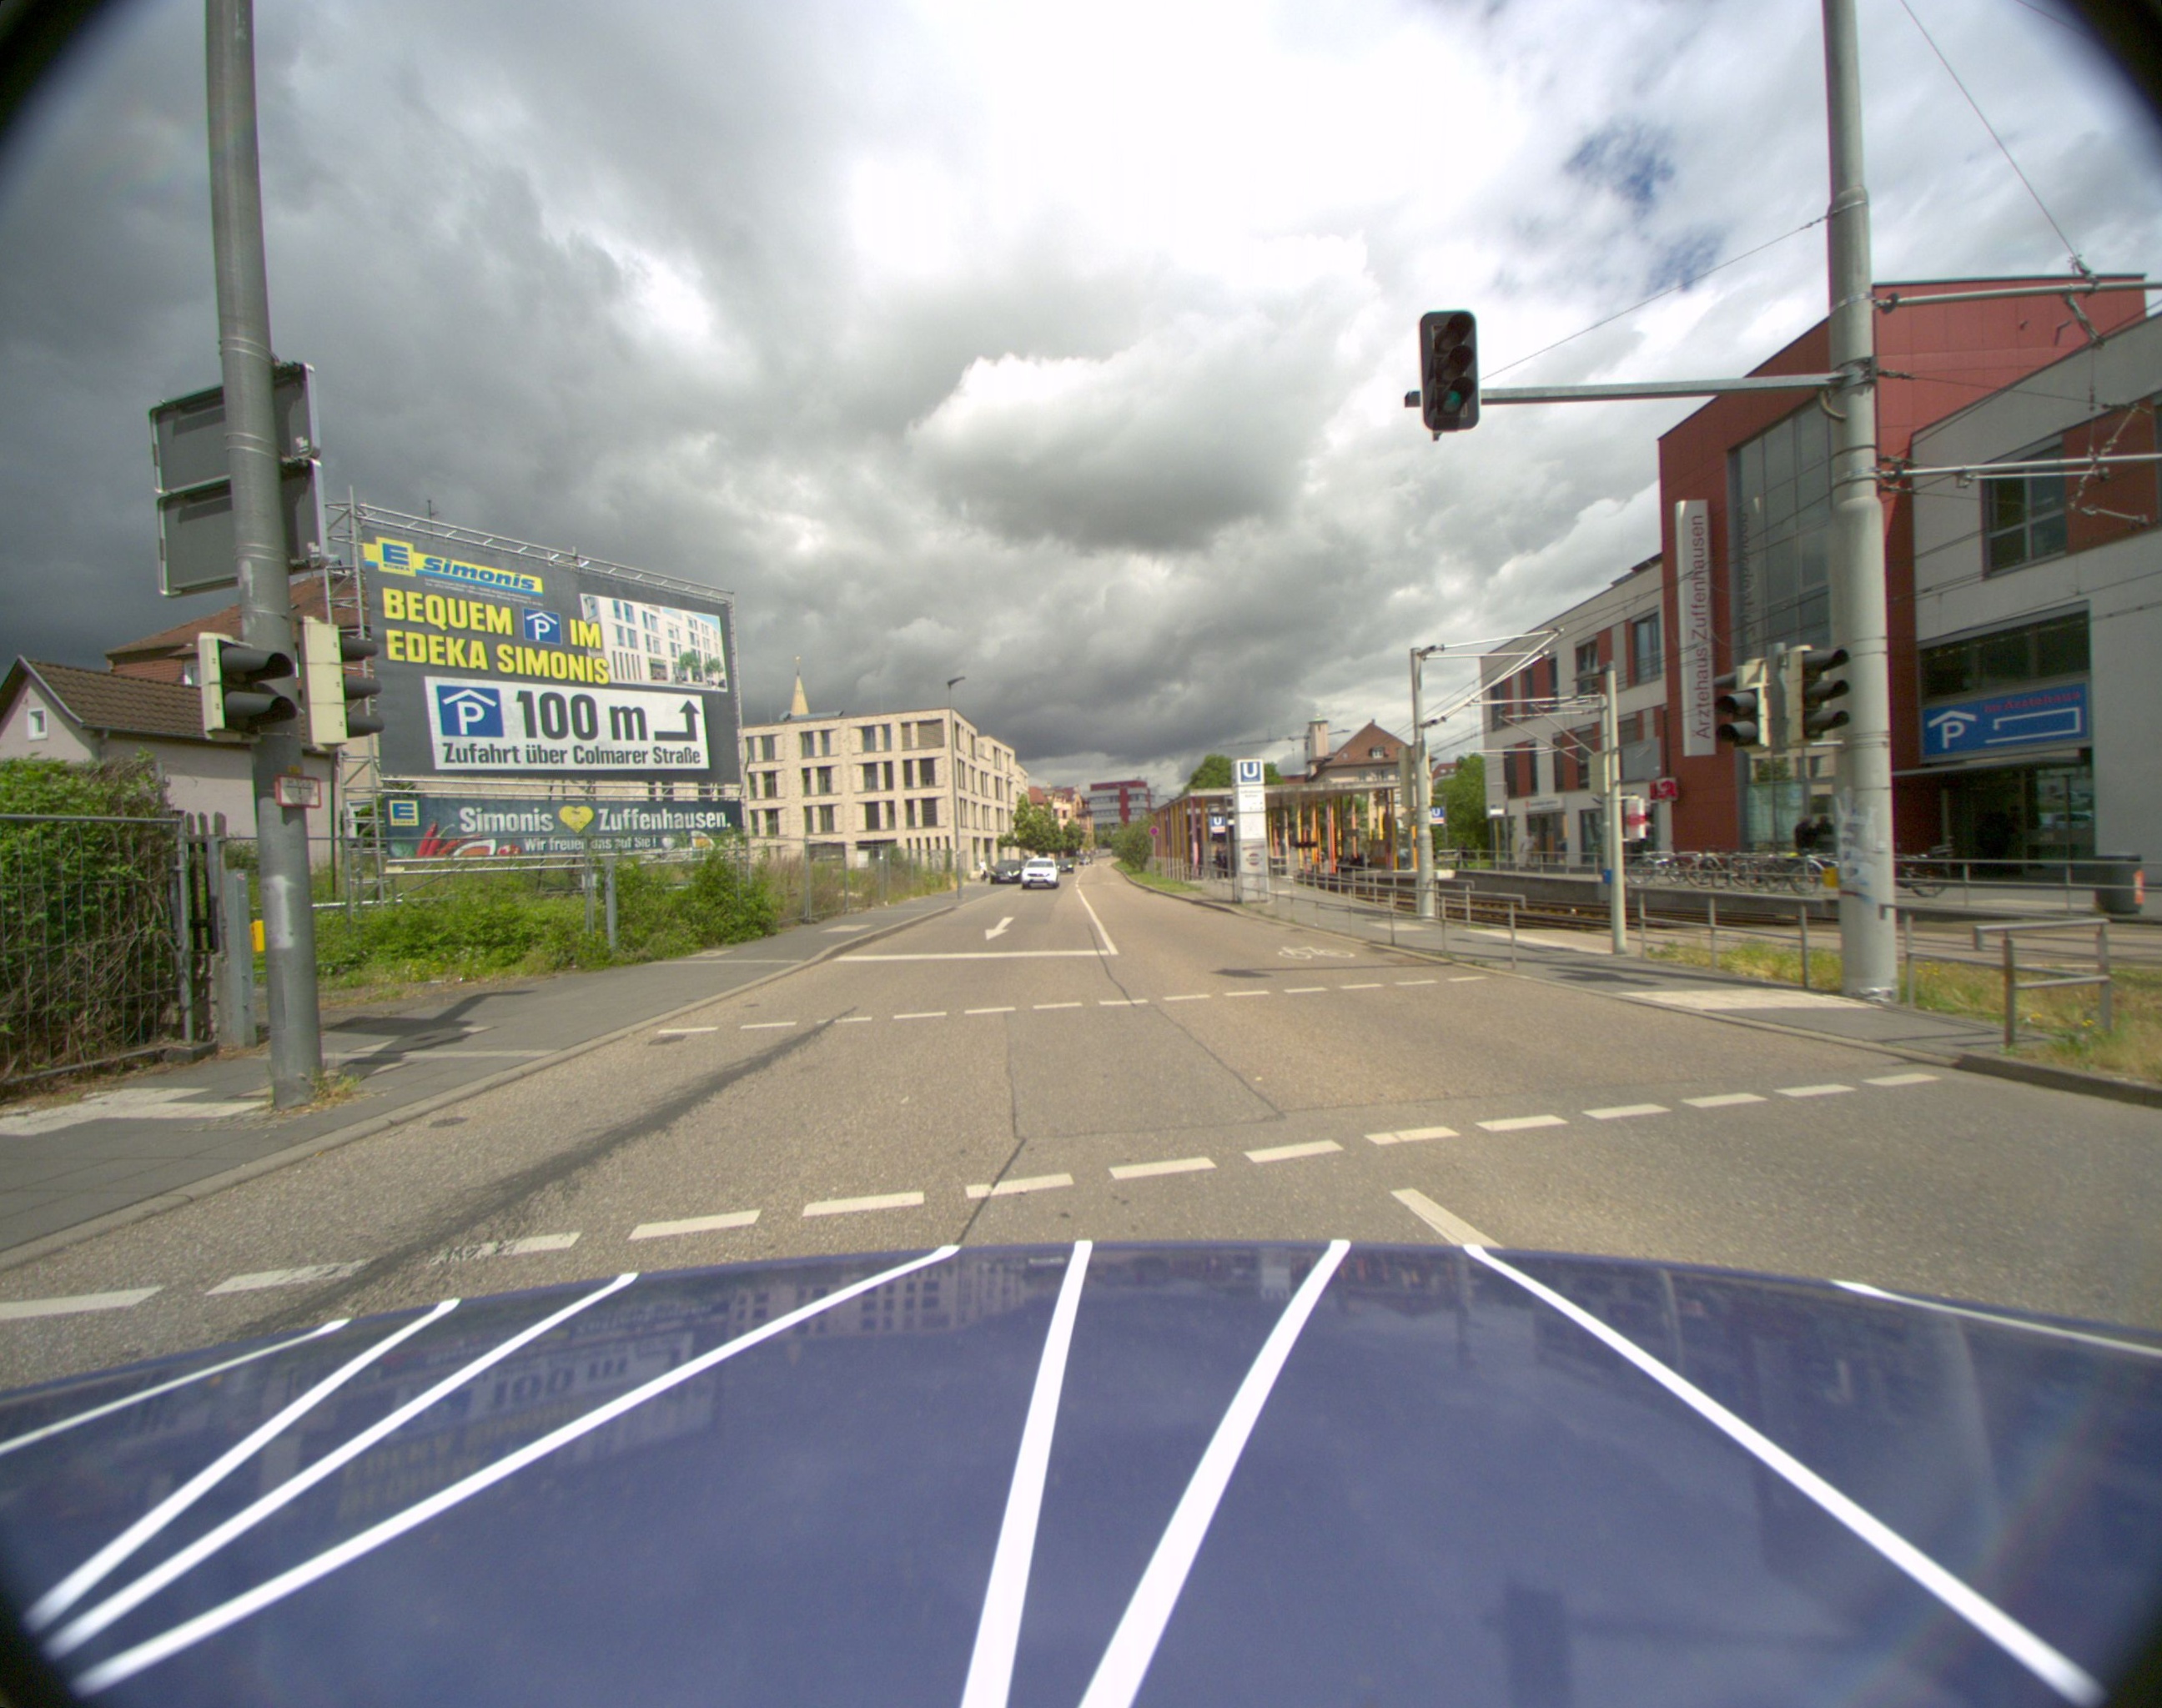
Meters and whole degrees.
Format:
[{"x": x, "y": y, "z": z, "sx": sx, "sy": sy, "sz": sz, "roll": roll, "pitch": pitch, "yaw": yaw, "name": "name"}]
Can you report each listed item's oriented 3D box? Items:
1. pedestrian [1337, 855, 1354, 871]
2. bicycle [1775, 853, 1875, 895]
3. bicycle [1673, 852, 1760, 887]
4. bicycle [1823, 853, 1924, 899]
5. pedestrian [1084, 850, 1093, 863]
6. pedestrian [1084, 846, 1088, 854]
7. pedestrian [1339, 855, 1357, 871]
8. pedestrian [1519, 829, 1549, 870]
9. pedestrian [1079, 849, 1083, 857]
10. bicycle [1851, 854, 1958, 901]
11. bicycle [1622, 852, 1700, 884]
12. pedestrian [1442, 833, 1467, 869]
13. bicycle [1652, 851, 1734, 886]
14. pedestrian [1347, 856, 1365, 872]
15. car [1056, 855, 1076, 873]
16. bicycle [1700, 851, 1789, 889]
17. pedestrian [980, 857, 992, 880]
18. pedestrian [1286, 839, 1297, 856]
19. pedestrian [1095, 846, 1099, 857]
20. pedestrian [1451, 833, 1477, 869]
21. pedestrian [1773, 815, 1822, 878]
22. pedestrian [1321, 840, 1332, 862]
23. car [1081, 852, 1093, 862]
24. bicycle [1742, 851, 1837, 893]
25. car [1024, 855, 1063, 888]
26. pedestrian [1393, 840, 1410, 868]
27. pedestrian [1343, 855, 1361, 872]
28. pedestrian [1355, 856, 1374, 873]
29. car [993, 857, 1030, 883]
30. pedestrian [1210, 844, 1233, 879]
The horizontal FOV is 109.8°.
[{"x": 19.259, "y": 0.627, "z": 55.364, "sx": 0.943, "sy": 1.128, "sz": 0.886, "roll": -2, "pitch": 0, "yaw": 2, "name": "pedestrian"}, {"x": 17.642, "y": 0.472, "z": 18.038, "sx": 1.862, "sy": 0.930, "sz": 0.454, "roll": -2, "pitch": 1, "yaw": 3, "name": "bicycle"}, {"x": 17.563, "y": 0.425, "z": 21.022, "sx": 1.861, "sy": 0.917, "sz": 0.455, "roll": -2, "pitch": 1, "yaw": 8, "name": "bicycle"}, {"x": 17.709, "y": 0.491, "z": 16.999, "sx": 1.739, "sy": 0.952, "sz": 0.428, "roll": -2, "pitch": 1, "yaw": 3, "name": "bicycle"}, {"x": 1.008, "y": 0.326, "z": 104.976, "sx": 1.118, "sy": 1.744, "sz": 0.866, "roll": -2, "pitch": 0, "yaw": -2, "name": "pedestrian"}, {"x": 0.863, "y": -0.678, "z": 141.041, "sx": 0.673, "sy": 1.503, "sz": 0.783, "roll": -2, "pitch": 0, "yaw": 3, "name": "pedestrian"}, {"x": 19.179, "y": 0.651, "z": 54.587, "sx": 0.943, "sy": 1.128, "sz": 0.886, "roll": -2, "pitch": 0, "yaw": 2, "name": "pedestrian"}, {"x": 22.073, "y": -0.242, "z": 37.036, "sx": 0.864, "sy": 1.957, "sz": 1.106, "roll": -1, "pitch": 2, "yaw": 3, "name": "pedestrian"}, {"x": 0.069, "y": -0.115, "z": 141.252, "sx": 0.673, "sy": 1.503, "sz": 0.783, "roll": -2, "pitch": 0, "yaw": 3, "name": "pedestrian"}, {"x": 17.721, "y": 0.505, "z": 16.366, "sx": 1.739, "sy": 0.947, "sz": 0.428, "roll": -2, "pitch": 1, "yaw": 3, "name": "bicycle"}, {"x": 17.529, "y": 0.424, "z": 22.979, "sx": 1.861, "sy": 0.876, "sz": 0.455, "roll": -2, "pitch": 1, "yaw": 9, "name": "bicycle"}, {"x": 20.827, "y": -0.188, "z": 42.368, "sx": 0.864, "sy": 1.957, "sz": 1.105, "roll": -1, "pitch": 2, "yaw": -1, "name": "pedestrian"}, {"x": 17.588, "y": 0.410, "z": 21.851, "sx": 1.861, "sy": 0.927, "sz": 0.455, "roll": -2, "pitch": 1, "yaw": 9, "name": "bicycle"}, {"x": 19.067, "y": 0.689, "z": 52.639, "sx": 0.943, "sy": 1.128, "sz": 0.886, "roll": -2, "pitch": 0, "yaw": 2, "name": "pedestrian"}, {"x": -1.317, "y": 0.872, "z": 67.170, "sx": 1.678, "sy": 1.425, "sz": 3.794, "roll": -2, "pitch": 1, "yaw": 0, "name": "car"}, {"x": 17.545, "y": 0.431, "z": 20.121, "sx": 1.861, "sy": 0.934, "sz": 0.454, "roll": -2, "pitch": 1, "yaw": 5, "name": "bicycle"}, {"x": -6.179, "y": 0.941, "z": 49.533, "sx": 0.673, "sy": 1.503, "sz": 0.782, "roll": -2, "pitch": 0, "yaw": 1, "name": "pedestrian"}, {"x": 25.329, "y": -0.789, "z": 91.499, "sx": 1.127, "sy": 2.002, "sz": 1.179, "roll": -1, "pitch": 0, "yaw": 6, "name": "pedestrian"}, {"x": 3.065, "y": -0.444, "z": 145.447, "sx": 0.800, "sy": 2.002, "sz": 0.810, "roll": -1, "pitch": 0, "yaw": 2, "name": "pedestrian"}, {"x": 21.403, "y": -0.167, "z": 42.450, "sx": 0.864, "sy": 1.957, "sz": 1.105, "roll": -1, "pitch": 2, "yaw": -1, "name": "pedestrian"}, {"x": 22.007, "y": -0.237, "z": 23.339, "sx": 0.881, "sy": 1.835, "sz": 0.862, "roll": -4, "pitch": 3, "yaw": -27, "name": "pedestrian"}, {"x": 22.430, "y": -0.263, "z": 69.428, "sx": 0.617, "sy": 2.002, "sz": 0.775, "roll": -1, "pitch": 0, "yaw": -6, "name": "pedestrian"}, {"x": 0.886, "y": 0.454, "z": 110.132, "sx": 1.677, "sy": 1.299, "sz": 3.794, "roll": -1, "pitch": 1, "yaw": 3, "name": "car"}, {"x": 17.679, "y": 0.441, "z": 18.970, "sx": 1.862, "sy": 0.957, "sz": 0.454, "roll": -2, "pitch": 1, "yaw": 3, "name": "bicycle"}, {"x": -1.869, "y": 0.856, "z": 38.532, "sx": 1.719, "sy": 1.541, "sz": 3.793, "roll": -1, "pitch": 0, "yaw": 1, "name": "car"}, {"x": 23.190, "y": -0.022, "z": 54.983, "sx": 0.863, "sy": 1.957, "sz": 1.106, "roll": -1, "pitch": 2, "yaw": 6, "name": "pedestrian"}, {"x": 19.082, "y": 0.671, "z": 53.597, "sx": 0.943, "sy": 1.128, "sz": 0.886, "roll": -2, "pitch": 0, "yaw": 2, "name": "pedestrian"}, {"x": 19.262, "y": 0.703, "z": 51.683, "sx": 0.943, "sy": 1.128, "sz": 0.886, "roll": -2, "pitch": 0, "yaw": 2, "name": "pedestrian"}, {"x": -4.160, "y": 0.961, "z": 46.112, "sx": 1.677, "sy": 1.415, "sz": 3.794, "roll": -1, "pitch": 1, "yaw": 3, "name": "car"}, {"x": 7.699, "y": 0.399, "z": 41.643, "sx": 1.105, "sy": 1.903, "sz": 0.864, "roll": -1, "pitch": 2, "yaw": 2, "name": "pedestrian"}]
